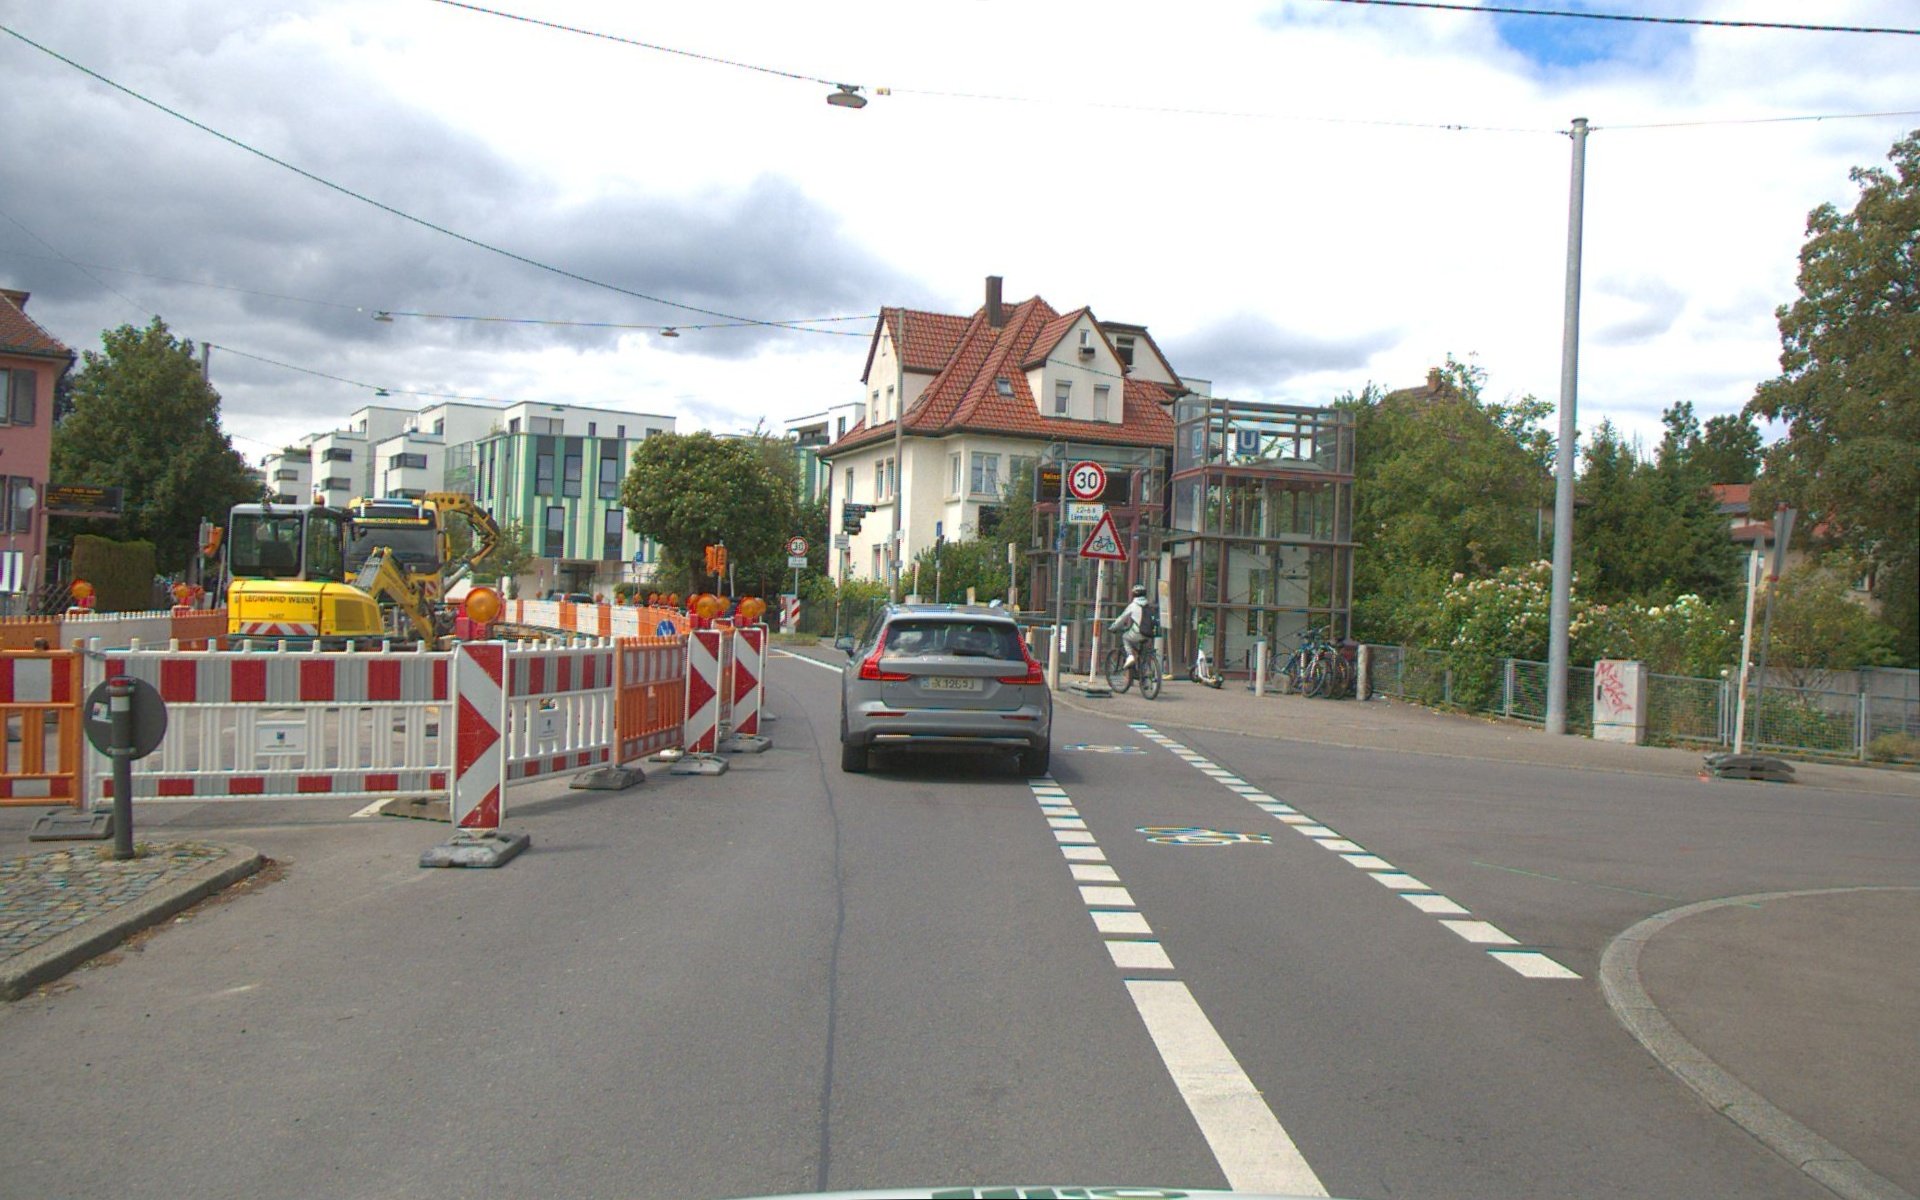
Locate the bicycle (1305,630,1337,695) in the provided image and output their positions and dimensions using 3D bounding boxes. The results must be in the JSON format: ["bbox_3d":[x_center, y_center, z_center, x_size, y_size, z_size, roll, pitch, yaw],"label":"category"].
[{"bbox_3d":[5.996,1.028,27.510,0.211,1.031,1.168,1,0,-2],"label":"bicycle"}]

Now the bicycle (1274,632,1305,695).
[{"bbox_3d":[5.461,1.043,27.464,0.211,1.006,1.203,1,0,-2],"label":"bicycle"}]

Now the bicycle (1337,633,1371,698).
[{"bbox_3d":[6.548,1.073,27.515,0.211,1.026,1.189,1,0,-2],"label":"bicycle"}]

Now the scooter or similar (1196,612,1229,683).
[{"bbox_3d":[4.327,0.803,28.379,0.211,1.131,0.944,1,3,-11],"label":"scooter or similar"}]

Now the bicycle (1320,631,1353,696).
[{"bbox_3d":[6.257,1.045,27.507,0.211,1.026,1.189,1,0,-2],"label":"bicycle"}]

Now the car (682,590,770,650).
[{"bbox_3d":[-6.694,0.555,47.014,1.825,1.539,3.981,3,-1,-17],"label":"car"}]

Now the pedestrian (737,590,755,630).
[{"bbox_3d":[-8.362,0.382,64.597,0.621,1.567,0.521,1,0,-3],"label":"pedestrian"}]

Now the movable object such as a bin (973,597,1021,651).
[{"bbox_3d":[1.062,0.689,47.764,1.243,1.496,1.003,2,-1,-6],"label":"movable object such as a bin"}]

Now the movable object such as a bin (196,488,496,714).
[{"bbox_3d":[-8.252,0.013,23.044,1.953,2.671,6.519,1,0,-2],"label":"movable object such as a bin"}]

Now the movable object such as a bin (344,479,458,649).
[{"bbox_3d":[-15.833,-0.923,47.435,2.549,4.295,11.070,1,0,-16],"label":"movable object such as a bin"}]

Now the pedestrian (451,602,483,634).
[{"bbox_3d":[-15.899,0.584,53.353,0.775,1.008,0.811,1,0,-3],"label":"pedestrian"}]

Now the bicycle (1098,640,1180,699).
[{"bbox_3d":[2.718,1.052,25.390,0.624,0.766,2.056,2,0,-12],"label":"bicycle"}]

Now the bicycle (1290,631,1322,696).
[{"bbox_3d":[5.737,1.045,27.472,0.211,1.018,1.206,1,0,-2],"label":"bicycle"}]

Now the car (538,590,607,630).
[{"bbox_3d":[-16.668,0.420,70.971,1.825,1.539,3.961,3,-1,-29],"label":"car"}]

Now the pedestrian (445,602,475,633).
[{"bbox_3d":[-16.422,0.576,54.330,0.627,1.008,0.794,1,0,7],"label":"pedestrian"}]

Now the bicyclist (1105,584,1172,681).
[{"bbox_3d":[2.736,0.487,25.416,0.644,1.440,1.175,2,0,-12],"label":"bicyclist"}]

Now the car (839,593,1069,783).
[{"bbox_3d":[-0.191,0.725,15.570,1.818,1.539,3.996,1,0,-5],"label":"car"}]

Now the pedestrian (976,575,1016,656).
[{"bbox_3d":[0.745,0.329,34.210,0.588,1.610,0.400,7,-4,-12],"label":"pedestrian"}]
